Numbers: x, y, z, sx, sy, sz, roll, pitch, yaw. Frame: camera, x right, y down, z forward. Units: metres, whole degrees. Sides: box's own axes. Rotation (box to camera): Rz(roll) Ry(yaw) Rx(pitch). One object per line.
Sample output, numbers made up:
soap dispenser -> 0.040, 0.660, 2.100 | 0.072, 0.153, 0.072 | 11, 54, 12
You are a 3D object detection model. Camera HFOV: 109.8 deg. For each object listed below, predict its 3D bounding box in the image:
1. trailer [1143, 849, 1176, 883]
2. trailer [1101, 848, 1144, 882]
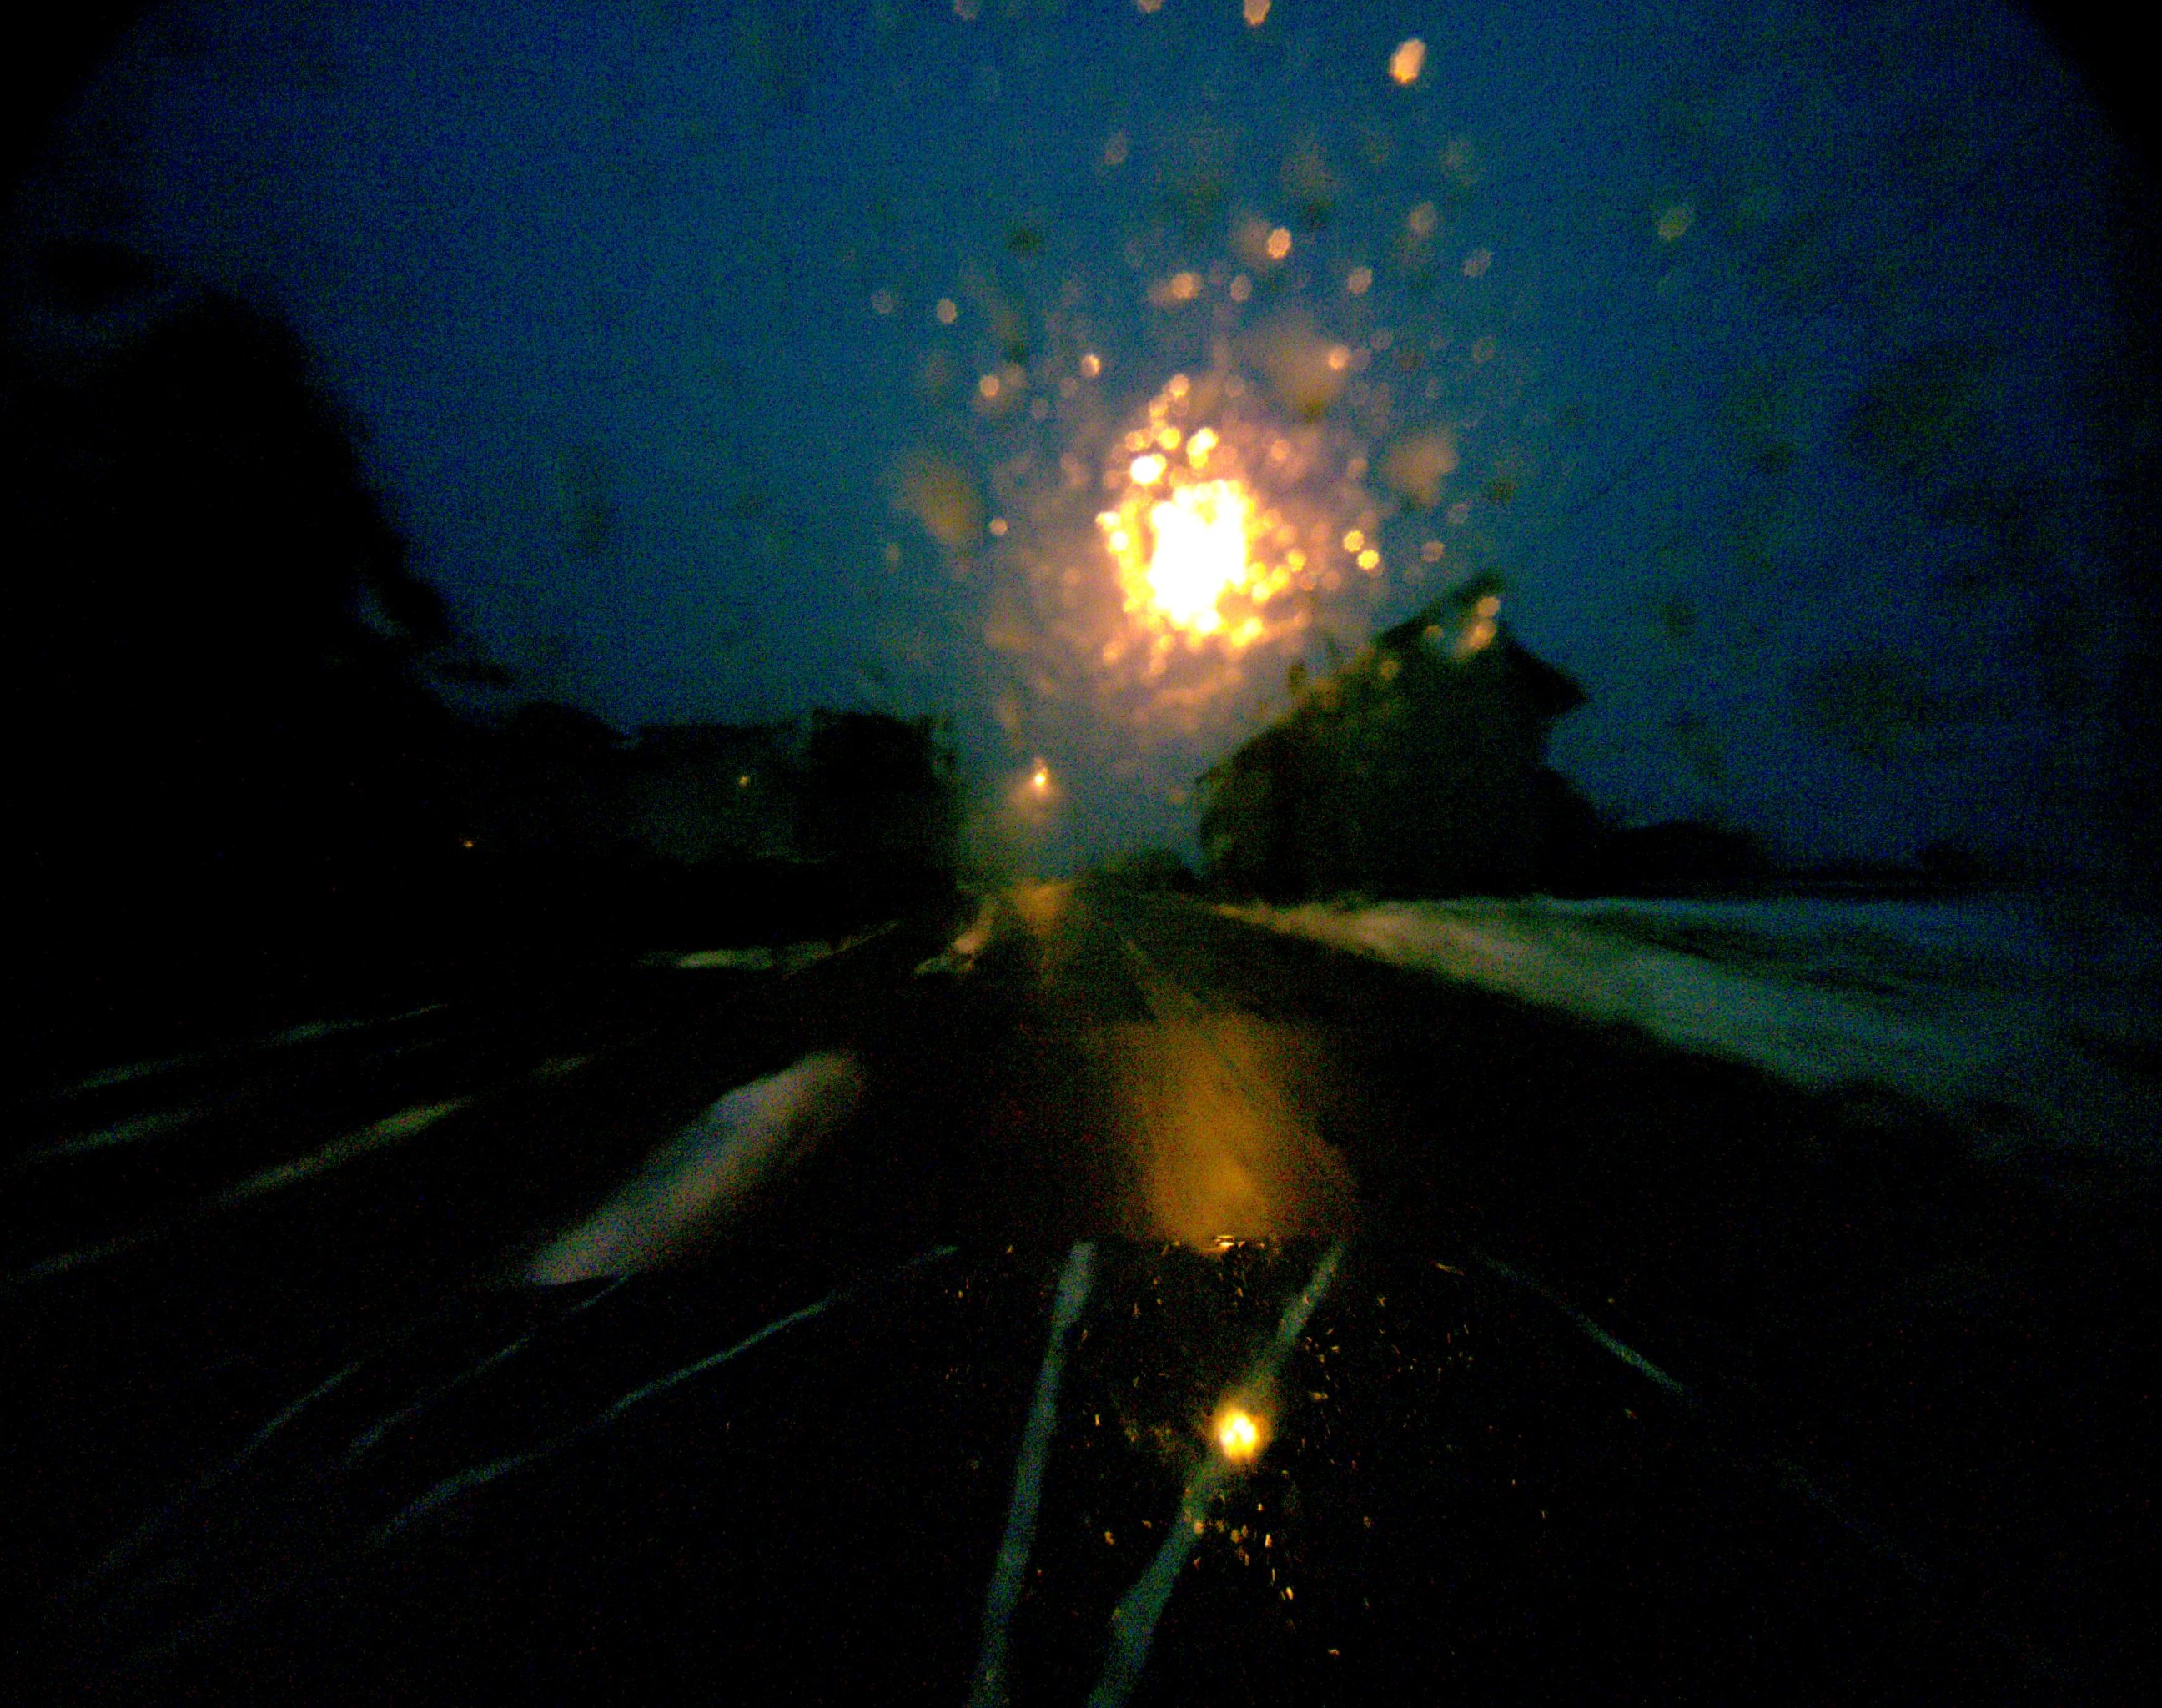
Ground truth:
trailer -> 6.126, 0.974, 59.725 | 1.999, 2.473, 4.011 | 3, -3, -2
trailer -> 3.286, 0.889, 60.897 | 1.698, 2.589, 3.437 | 4, -3, -29
